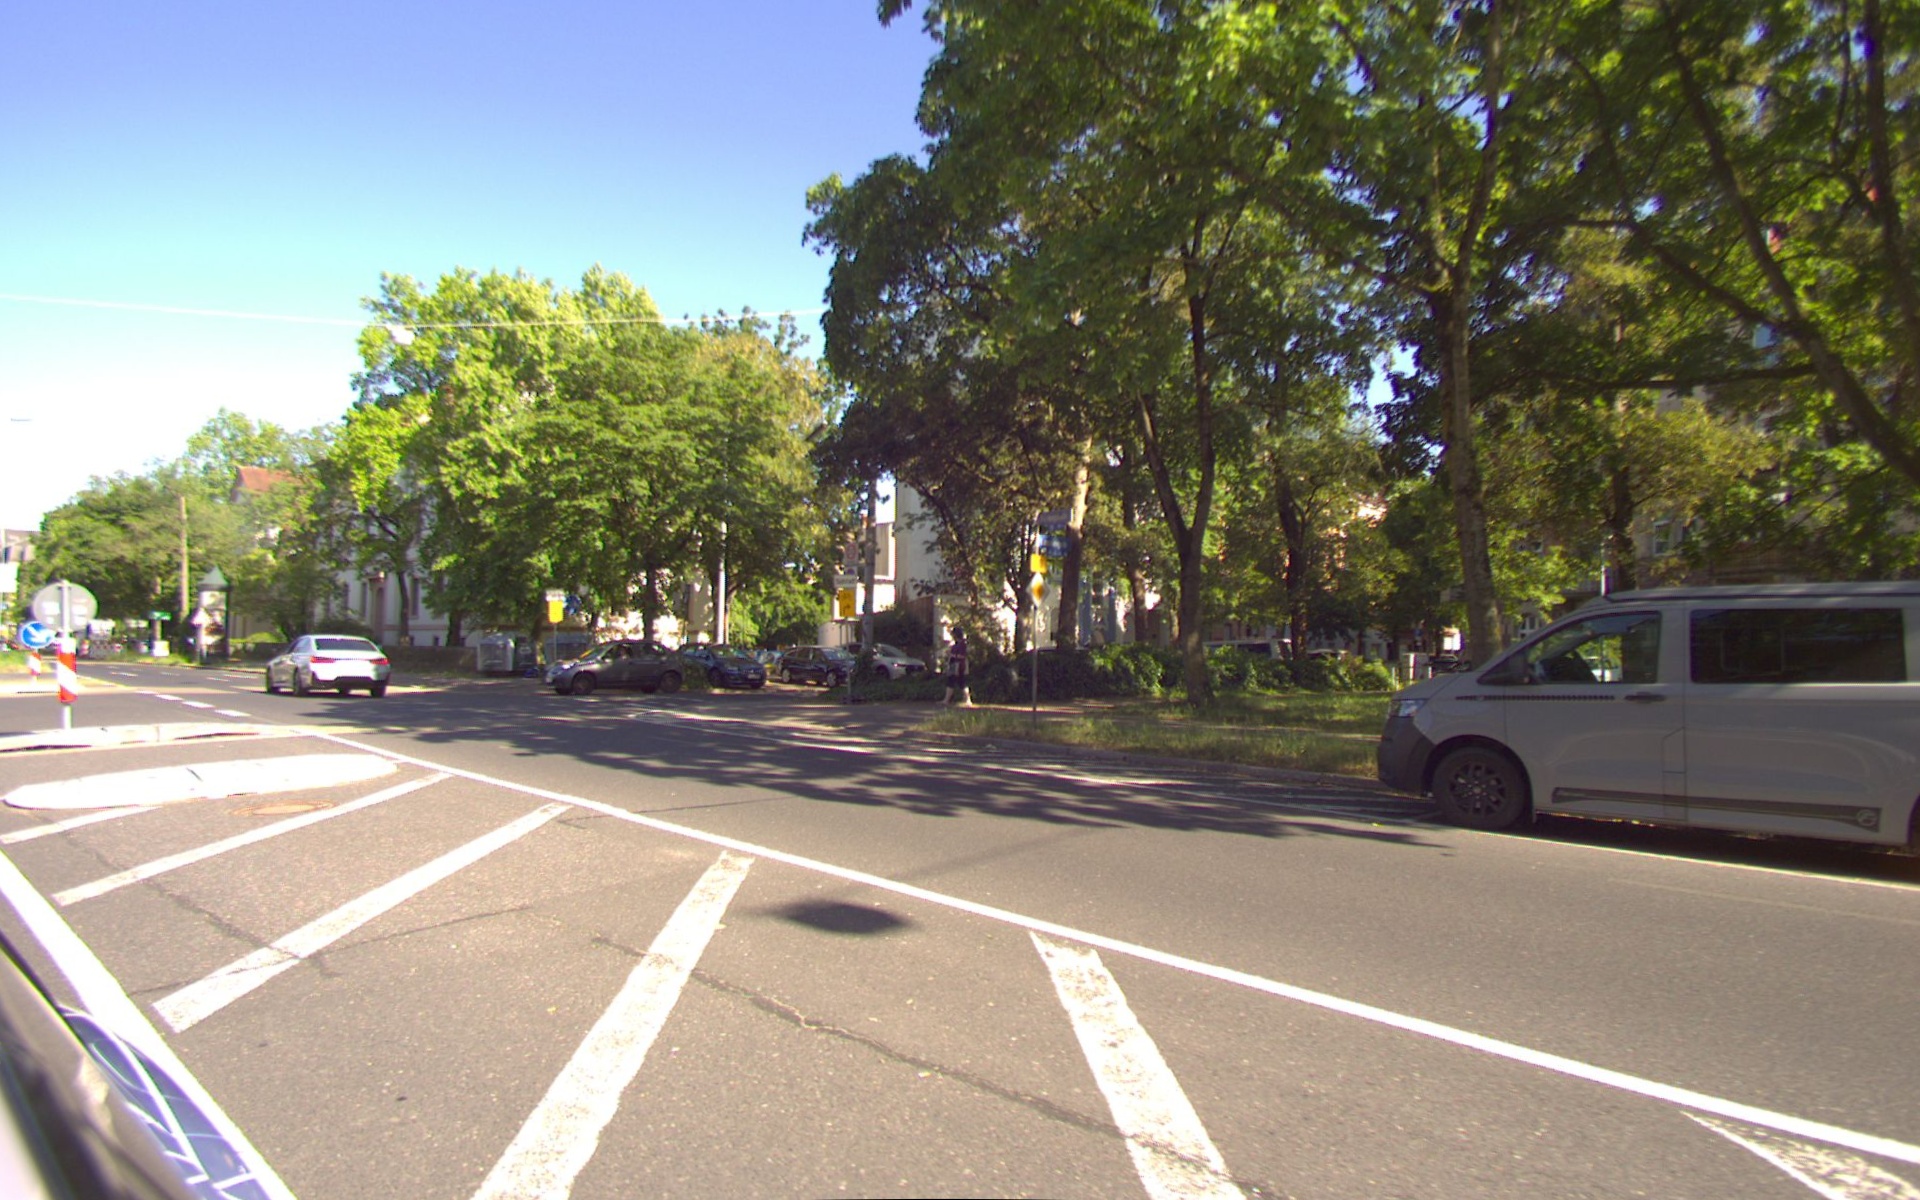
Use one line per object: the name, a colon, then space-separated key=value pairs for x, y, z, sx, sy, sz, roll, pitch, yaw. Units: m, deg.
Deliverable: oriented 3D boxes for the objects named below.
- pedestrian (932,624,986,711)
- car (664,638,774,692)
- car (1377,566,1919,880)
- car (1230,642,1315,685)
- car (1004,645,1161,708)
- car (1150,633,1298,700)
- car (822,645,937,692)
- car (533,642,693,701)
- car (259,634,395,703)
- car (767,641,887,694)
pedestrian: x=-0.017 y=1.402 z=21.278 sx=0.818 sy=1.768 sz=0.862 roll=-1 pitch=-3 yaw=33
car: x=-8.233 y=2.182 z=34.262 sx=1.863 sy=1.701 sz=4.710 roll=4 pitch=-4 yaw=-36
car: x=6.133 y=0.901 z=8.046 sx=4.871 sy=2.052 sz=1.963 roll=-2 pitch=-6 yaw=40
car: x=19.962 y=4.059 z=64.794 sx=4.918 sy=2.643 sz=1.868 roll=-2 pitch=-5 yaw=43
car: x=3.534 y=2.218 z=29.952 sx=1.863 sy=1.701 sz=4.710 roll=4 pitch=-4 yaw=-36
car: x=9.503 y=2.374 z=36.702 sx=4.918 sy=2.263 sz=1.867 roll=-2 pitch=-5 yaw=44
car: x=-3.184 y=2.632 z=39.255 sx=1.866 sy=1.701 sz=4.703 roll=4 pitch=-5 yaw=-43
car: x=-9.498 y=1.958 z=27.823 sx=3.721 sy=1.502 sz=1.847 roll=4 pitch=-5 yaw=-40
car: x=-15.239 y=1.585 z=24.239 sx=1.783 sy=1.505 sz=4.716 roll=3 pitch=-4 yaw=-44
car: x=-4.982 y=2.466 z=37.447 sx=4.702 sy=1.701 sz=1.867 roll=0 pitch=-3 yaw=45
